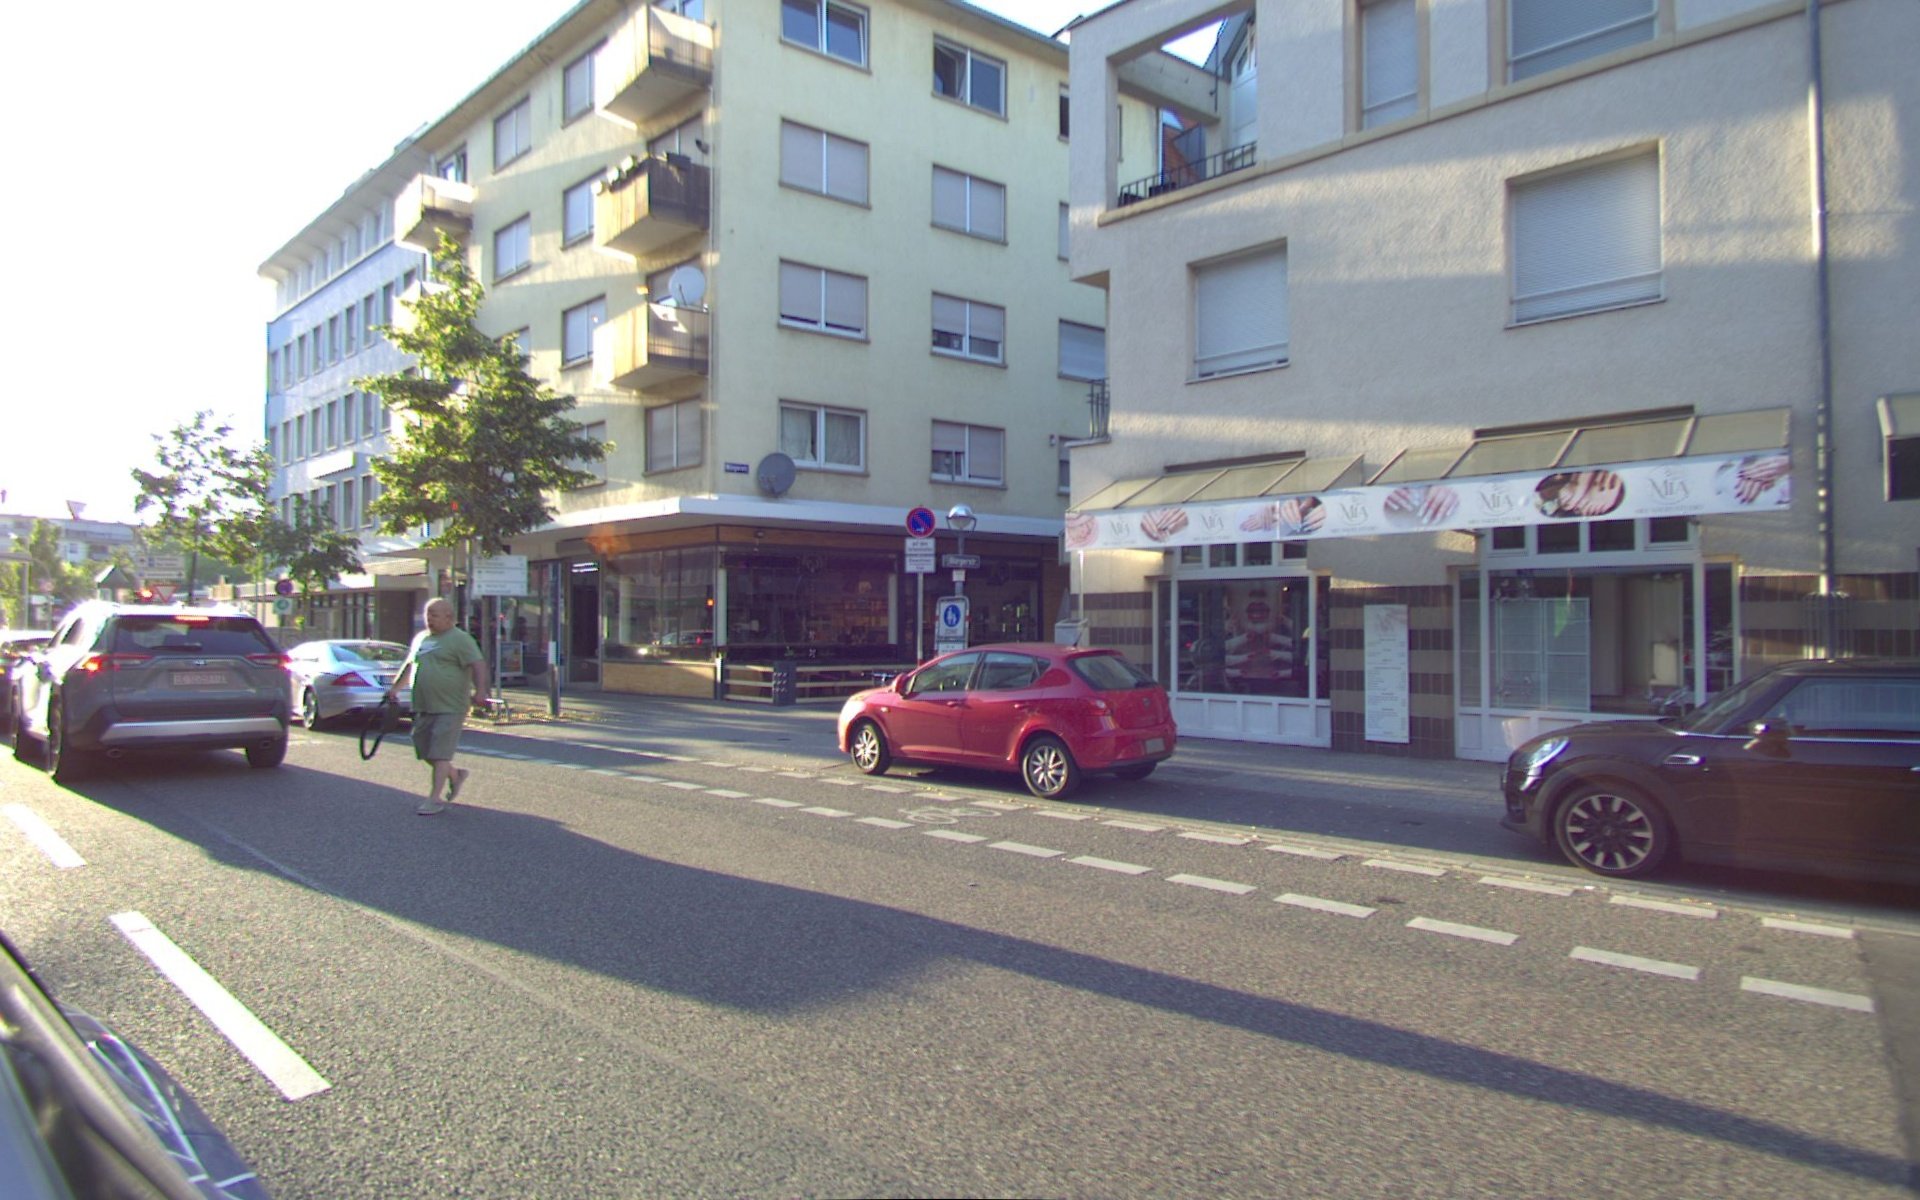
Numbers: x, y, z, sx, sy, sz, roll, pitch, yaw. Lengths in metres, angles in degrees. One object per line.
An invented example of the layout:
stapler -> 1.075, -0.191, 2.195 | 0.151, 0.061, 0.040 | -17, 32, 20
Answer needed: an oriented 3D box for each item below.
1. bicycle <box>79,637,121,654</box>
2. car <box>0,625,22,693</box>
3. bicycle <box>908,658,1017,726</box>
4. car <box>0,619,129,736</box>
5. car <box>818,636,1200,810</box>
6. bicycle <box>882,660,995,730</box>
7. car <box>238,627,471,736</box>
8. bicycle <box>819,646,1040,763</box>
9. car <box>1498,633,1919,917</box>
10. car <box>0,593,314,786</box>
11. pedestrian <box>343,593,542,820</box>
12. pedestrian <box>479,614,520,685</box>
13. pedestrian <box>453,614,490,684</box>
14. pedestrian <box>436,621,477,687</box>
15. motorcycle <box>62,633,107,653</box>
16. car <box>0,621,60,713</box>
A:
bicycle -> -59.952, 3.170, 70.550 | 0.779, 1.096, 2.152 | -1, -2, 41
car -> -24.198, 1.420, 24.237 | 4.505, 1.559, 1.938 | -3, -3, 39
bicycle -> 0.020, 1.505, 16.852 | 2.016, 0.999, 0.484 | -1, 0, 43
car -> -14.233, 1.082, 15.450 | 4.464, 1.561, 1.705 | -1, -2, 42
car -> 0.398, 1.146, 10.754 | 3.882, 1.413, 1.643 | -1, 0, 41
bicycle -> -0.381, 1.518, 16.479 | 2.014, 0.999, 0.485 | -1, 0, 40
car -> -10.089, 1.269, 16.731 | 4.508, 1.523, 1.972 | -1, -4, 42
bicycle -> -0.478, 1.321, 13.548 | 3.124, 1.310, 0.949 | -1, 0, 40
car -> 5.600, 0.982, 6.258 | 3.724, 1.464, 1.693 | -1, 0, 42
car -> -8.873, 0.819, 10.985 | 4.738, 1.657, 1.920 | -1, -2, 42
pedestrian -> -4.150, 0.828, 8.174 | 0.985, 1.689, 0.901 | 0, -5, 20
pedestrian -> -12.239, 1.308, 26.900 | 0.813, 1.833, 0.732 | -3, -4, 43
pedestrian -> -13.286, 1.334, 27.531 | 0.758, 1.862, 0.744 | 1, -3, -39
pedestrian -> -13.027, 1.384, 26.209 | 0.758, 1.689, 0.744 | 0, -1, -6
motorcycle -> -62.667, 3.073, 72.439 | 2.416, 1.376, 0.780 | 0, -2, -44
car -> -19.263, 1.231, 19.798 | 4.614, 1.657, 1.925 | -1, -2, 42
